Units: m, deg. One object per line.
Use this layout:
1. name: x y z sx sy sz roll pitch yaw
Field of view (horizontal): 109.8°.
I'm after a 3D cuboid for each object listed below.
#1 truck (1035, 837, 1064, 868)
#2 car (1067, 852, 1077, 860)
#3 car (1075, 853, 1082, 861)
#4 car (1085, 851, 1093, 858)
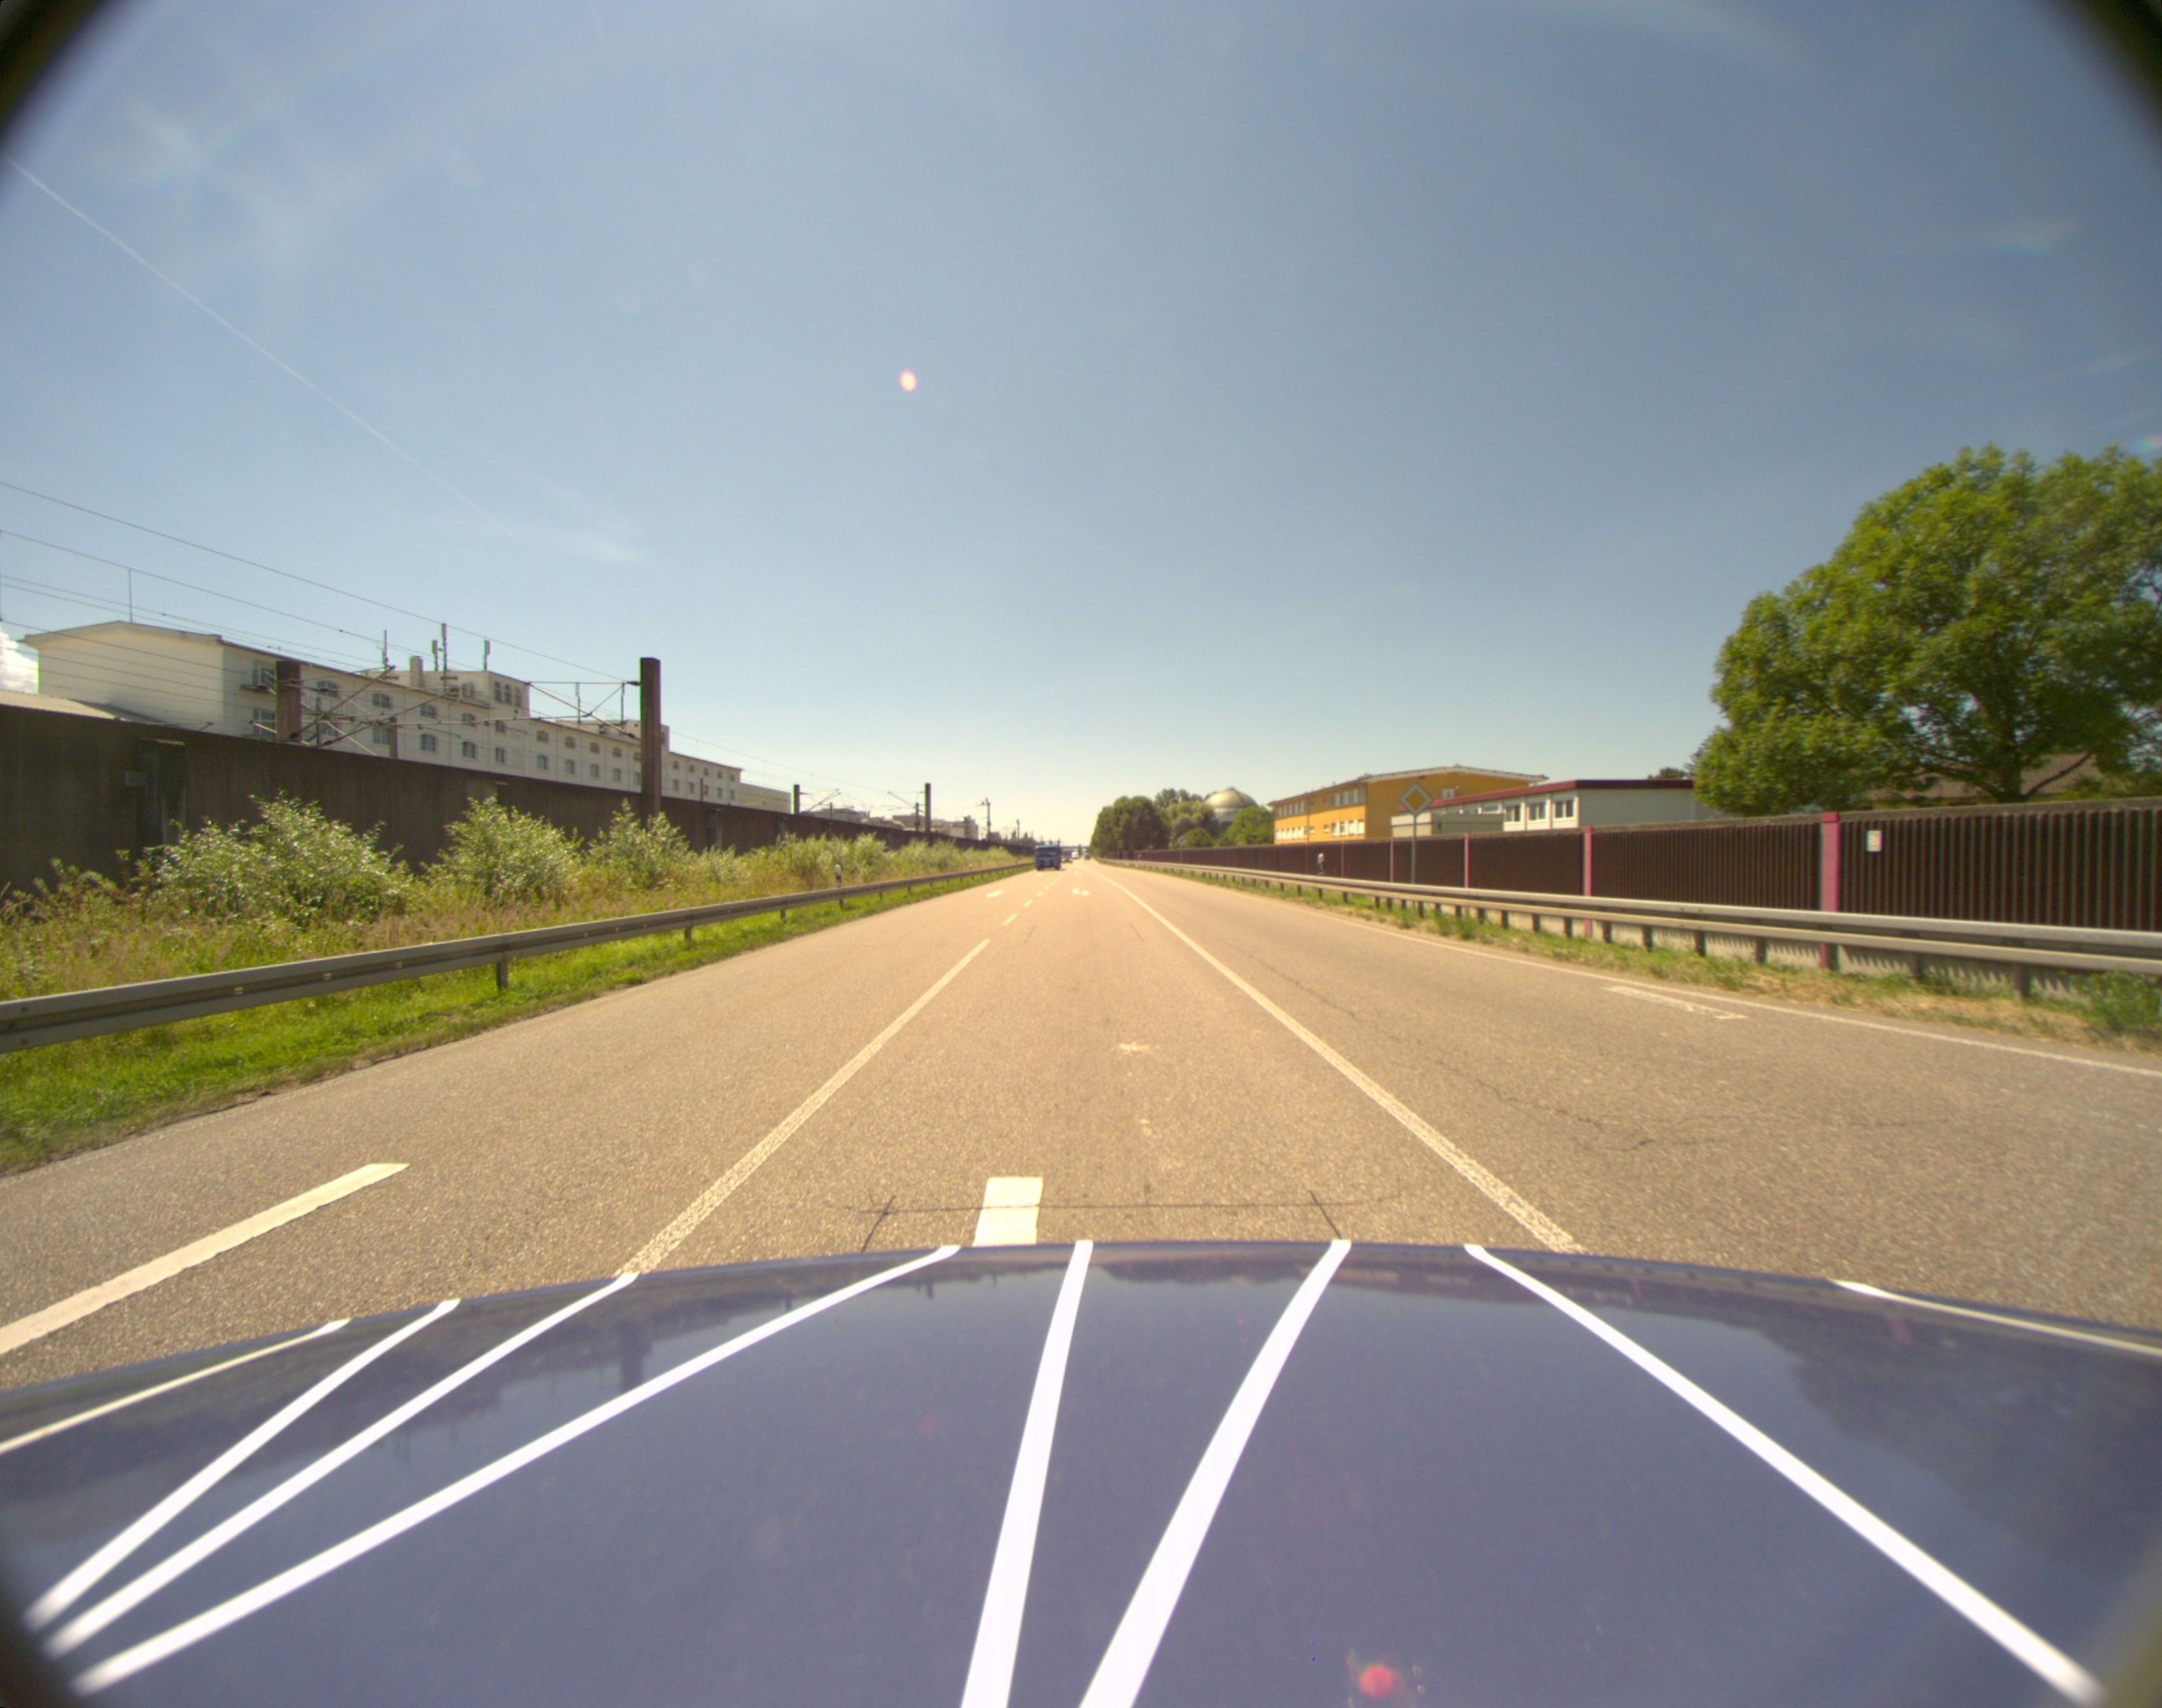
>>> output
1. truck: -3.272 -0.199 80.768 2.617 3.024 10.654 -1 0 0
2. car: -1.751 0.425 145.674 1.730 1.465 3.889 -1 1 0
3. car: -0.797 0.951 262.000 2.205 2.545 5.223 -1 1 0
4. car: 2.166 0.165 205.863 1.892 1.730 4.776 -2 0 -1
